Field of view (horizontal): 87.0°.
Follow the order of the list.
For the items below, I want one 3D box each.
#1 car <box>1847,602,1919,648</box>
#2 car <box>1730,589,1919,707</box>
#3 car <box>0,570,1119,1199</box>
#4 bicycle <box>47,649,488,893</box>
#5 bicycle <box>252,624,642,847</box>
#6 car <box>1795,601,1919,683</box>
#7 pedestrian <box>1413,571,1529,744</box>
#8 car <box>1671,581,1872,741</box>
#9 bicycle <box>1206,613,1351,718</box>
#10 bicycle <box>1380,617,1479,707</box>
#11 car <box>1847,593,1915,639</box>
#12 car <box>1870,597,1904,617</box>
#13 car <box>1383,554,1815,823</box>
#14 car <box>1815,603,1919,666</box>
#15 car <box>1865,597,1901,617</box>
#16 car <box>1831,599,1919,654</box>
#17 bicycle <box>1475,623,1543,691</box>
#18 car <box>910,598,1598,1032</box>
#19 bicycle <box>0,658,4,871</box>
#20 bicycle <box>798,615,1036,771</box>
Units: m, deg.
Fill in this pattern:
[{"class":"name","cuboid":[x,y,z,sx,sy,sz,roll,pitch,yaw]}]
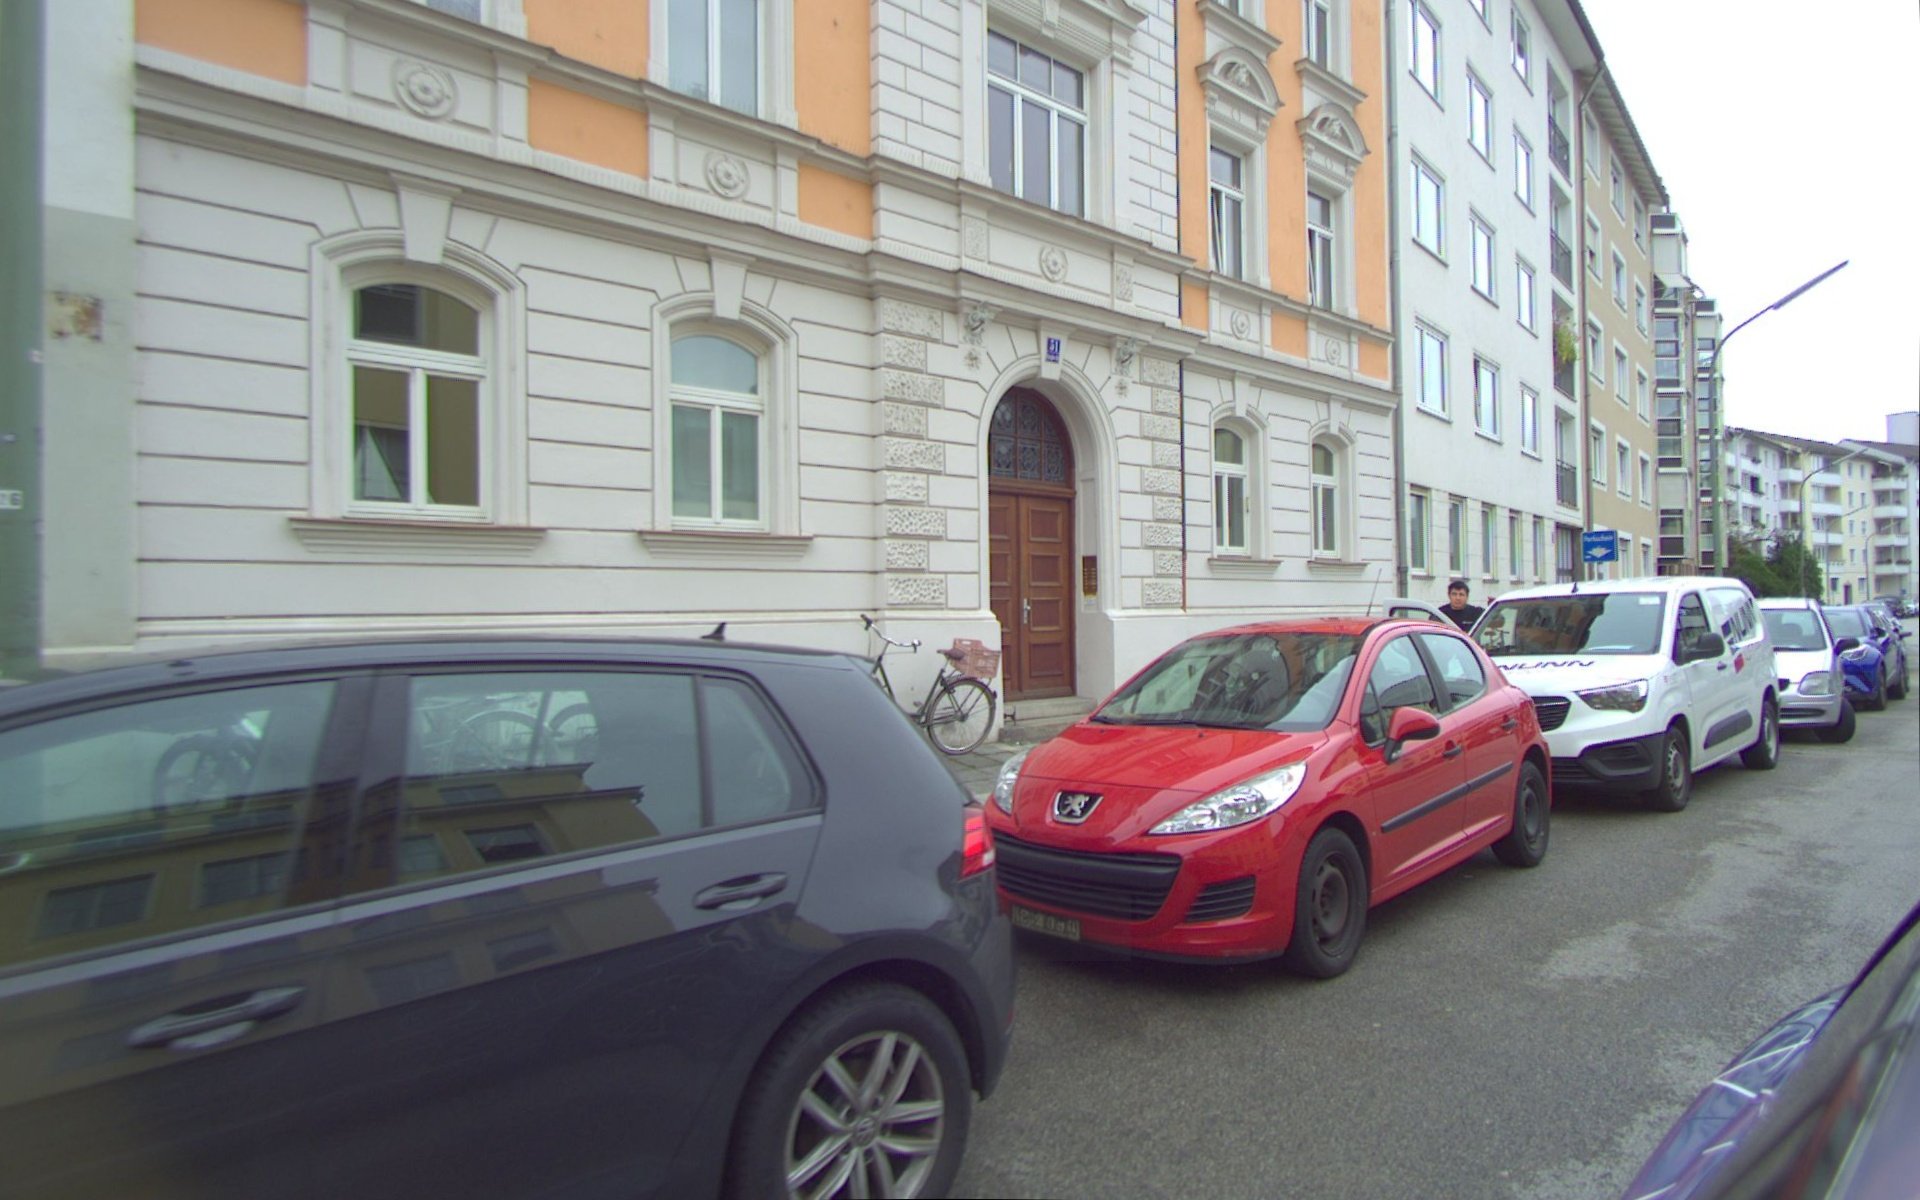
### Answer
[{"class":"car","cuboid":[30.663,0.781,33.626,1.736,1.356,4.103,2,2,41]},{"class":"car","cuboid":[13.692,0.697,15.874,4.128,1.608,1.742,0,-3,-42]},{"class":"car","cuboid":[-1.695,0.738,2.093,4.009,1.470,1.695,-1,-3,-39]},{"class":"bicycle","cuboid":[-3.709,0.883,5.491,2.058,1.198,0.608,-1,-1,5]},{"class":"bicycle","cuboid":[-3.059,0.780,6.129,2.057,1.198,0.609,1,-1,3]},{"class":"car","cuboid":[17.431,0.757,19.513,1.740,1.414,4.135,-4,-2,43]},{"class":"pedestrian","cuboid":[5.243,0.565,10.394,0.635,1.683,0.862,0,-1,-40]},{"class":"car","cuboid":[10.017,0.657,12.394,1.602,1.663,3.575,-4,-3,43]},{"class":"bicycle","cuboid":[3.968,0.778,12.520,2.057,1.198,0.653,2,-1,-38]},{"class":"bicycle","cuboid":[6.583,0.837,14.155,0.667,1.136,1.925,-3,-2,43]},{"class":"car","cuboid":[33.673,0.574,37.081,1.735,1.599,3.777,-1,-1,41]},{"class":"car","cuboid":[71.909,0.518,78.554,1.749,1.472,3.518,-2,-1,40]},{"class":"car","cuboid":[5.921,0.637,9.100,4.808,1.809,1.843,0,-3,-40]},{"class":"car","cuboid":[23.162,0.805,25.767,1.890,1.414,4.420,0,0,43]},{"class":"car","cuboid":[68.782,0.499,75.453,1.749,1.472,3.518,-1,-1,40]},{"class":"car","cuboid":[27.344,0.730,30.202,1.890,1.481,4.420,1,1,43]},{"class":"bicycle","cuboid":[9.986,1.015,18.376,0.667,1.136,1.626,-3,-2,43]},{"class":"car","cuboid":[1.880,0.776,5.528,4.229,1.470,1.600,0,-3,-43]},{"class":"bicycle","cuboid":[-5.720,0.854,4.257,2.415,1.088,0.770,0,-1,-40]},{"class":"bicycle","cuboid":[-0.329,0.752,8.794,2.057,1.198,0.653,2,-1,-38]}]
